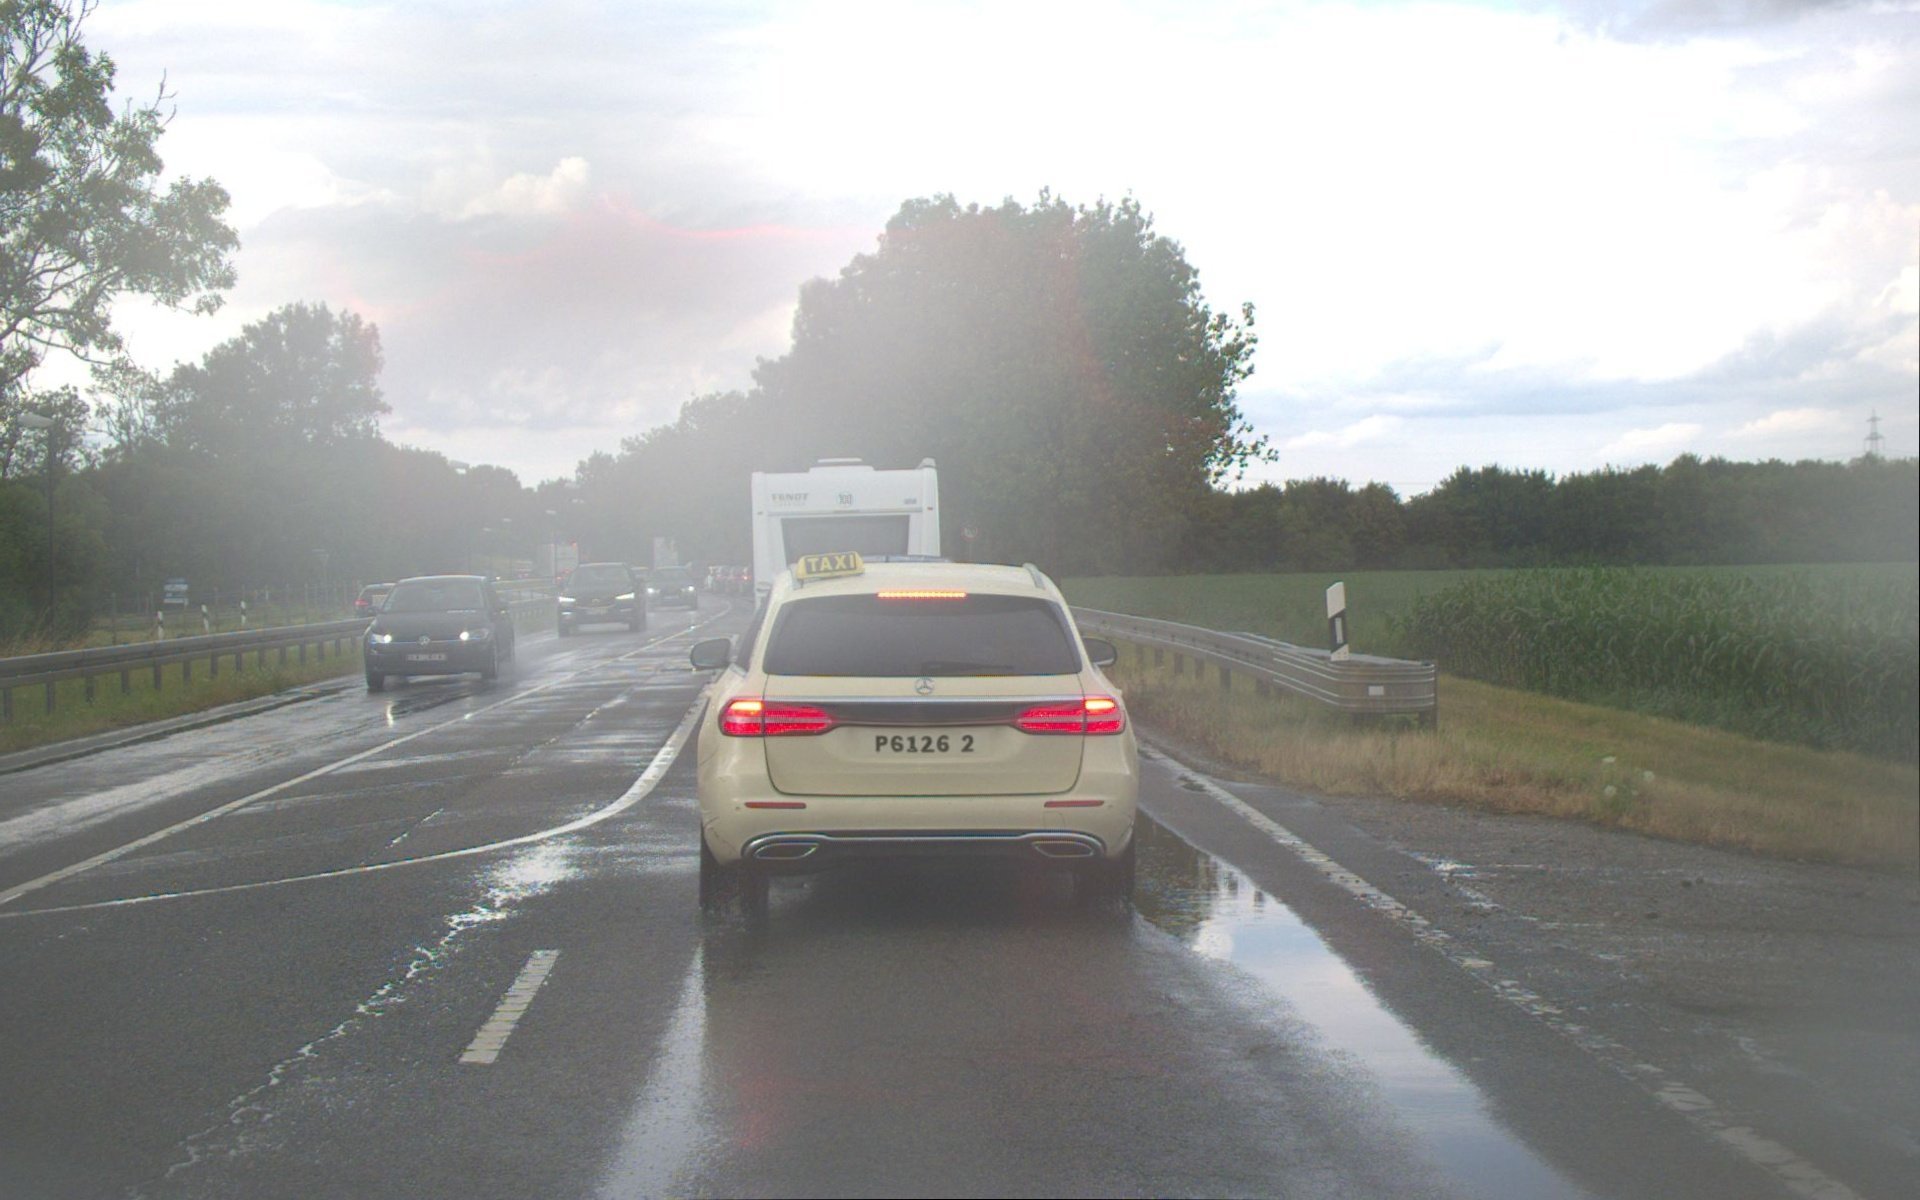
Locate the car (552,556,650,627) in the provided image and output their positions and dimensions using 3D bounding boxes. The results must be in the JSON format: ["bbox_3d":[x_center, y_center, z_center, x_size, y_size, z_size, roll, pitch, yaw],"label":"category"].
[{"bbox_3d":[-8.511,-0.234,81.729,1.944,1.575,4.444,-1,1,-1],"label":"car"}]

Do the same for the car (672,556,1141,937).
[{"bbox_3d":[-0.247,0.546,15.504,1.825,1.480,4.145,0,1,-1],"label":"car"}]

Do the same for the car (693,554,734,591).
[{"bbox_3d":[-13.803,-1.544,192.456,1.993,2.044,4.001,-1,1,-8],"label":"car"}]

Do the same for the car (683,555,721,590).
[{"bbox_3d":[-15.182,-1.615,201.887,1.993,2.007,4.001,-1,1,-7],"label":"car"}]

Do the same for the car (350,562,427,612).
[{"bbox_3d":[-19.764,-0.464,119.011,1.993,1.645,4.000,-2,1,-1],"label":"car"}]

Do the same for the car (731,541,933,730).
[{"bbox_3d":[-1.133,0.259,30.425,1.627,1.524,3.933,-2,1,-2],"label":"car"}]

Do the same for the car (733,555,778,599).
[{"bbox_3d":[-9.725,-1.113,163.355,1.993,2.007,4.001,-1,1,-5],"label":"car"}]

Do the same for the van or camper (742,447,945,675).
[{"bbox_3d":[-1.497,-0.526,43.861,2.350,2.671,5.769,-1,1,-2],"label":"van or camper"}]

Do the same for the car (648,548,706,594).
[{"bbox_3d":[-10.173,-1.063,123.718,1.769,1.518,4.141,-3,1,-1],"label":"car"}]

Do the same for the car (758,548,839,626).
[{"bbox_3d":[-4.761,-0.406,100.519,2.246,2.191,5.413,-1,1,-3],"label":"car"}]

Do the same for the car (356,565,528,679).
[{"bbox_3d":[-6.993,0.264,46.735,1.712,1.401,3.814,-2,1,0],"label":"car"}]

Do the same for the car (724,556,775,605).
[{"bbox_3d":[-8.852,-0.818,144.394,1.993,2.007,4.001,-1,1,-5],"label":"car"}]

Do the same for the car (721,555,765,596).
[{"bbox_3d":[-10.871,-1.220,172.086,1.993,2.007,4.001,-1,1,-7],"label":"car"}]

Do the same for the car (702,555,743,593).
[{"bbox_3d":[-12.897,-1.398,186.397,1.993,2.007,4.001,-1,1,-7],"label":"car"}]
